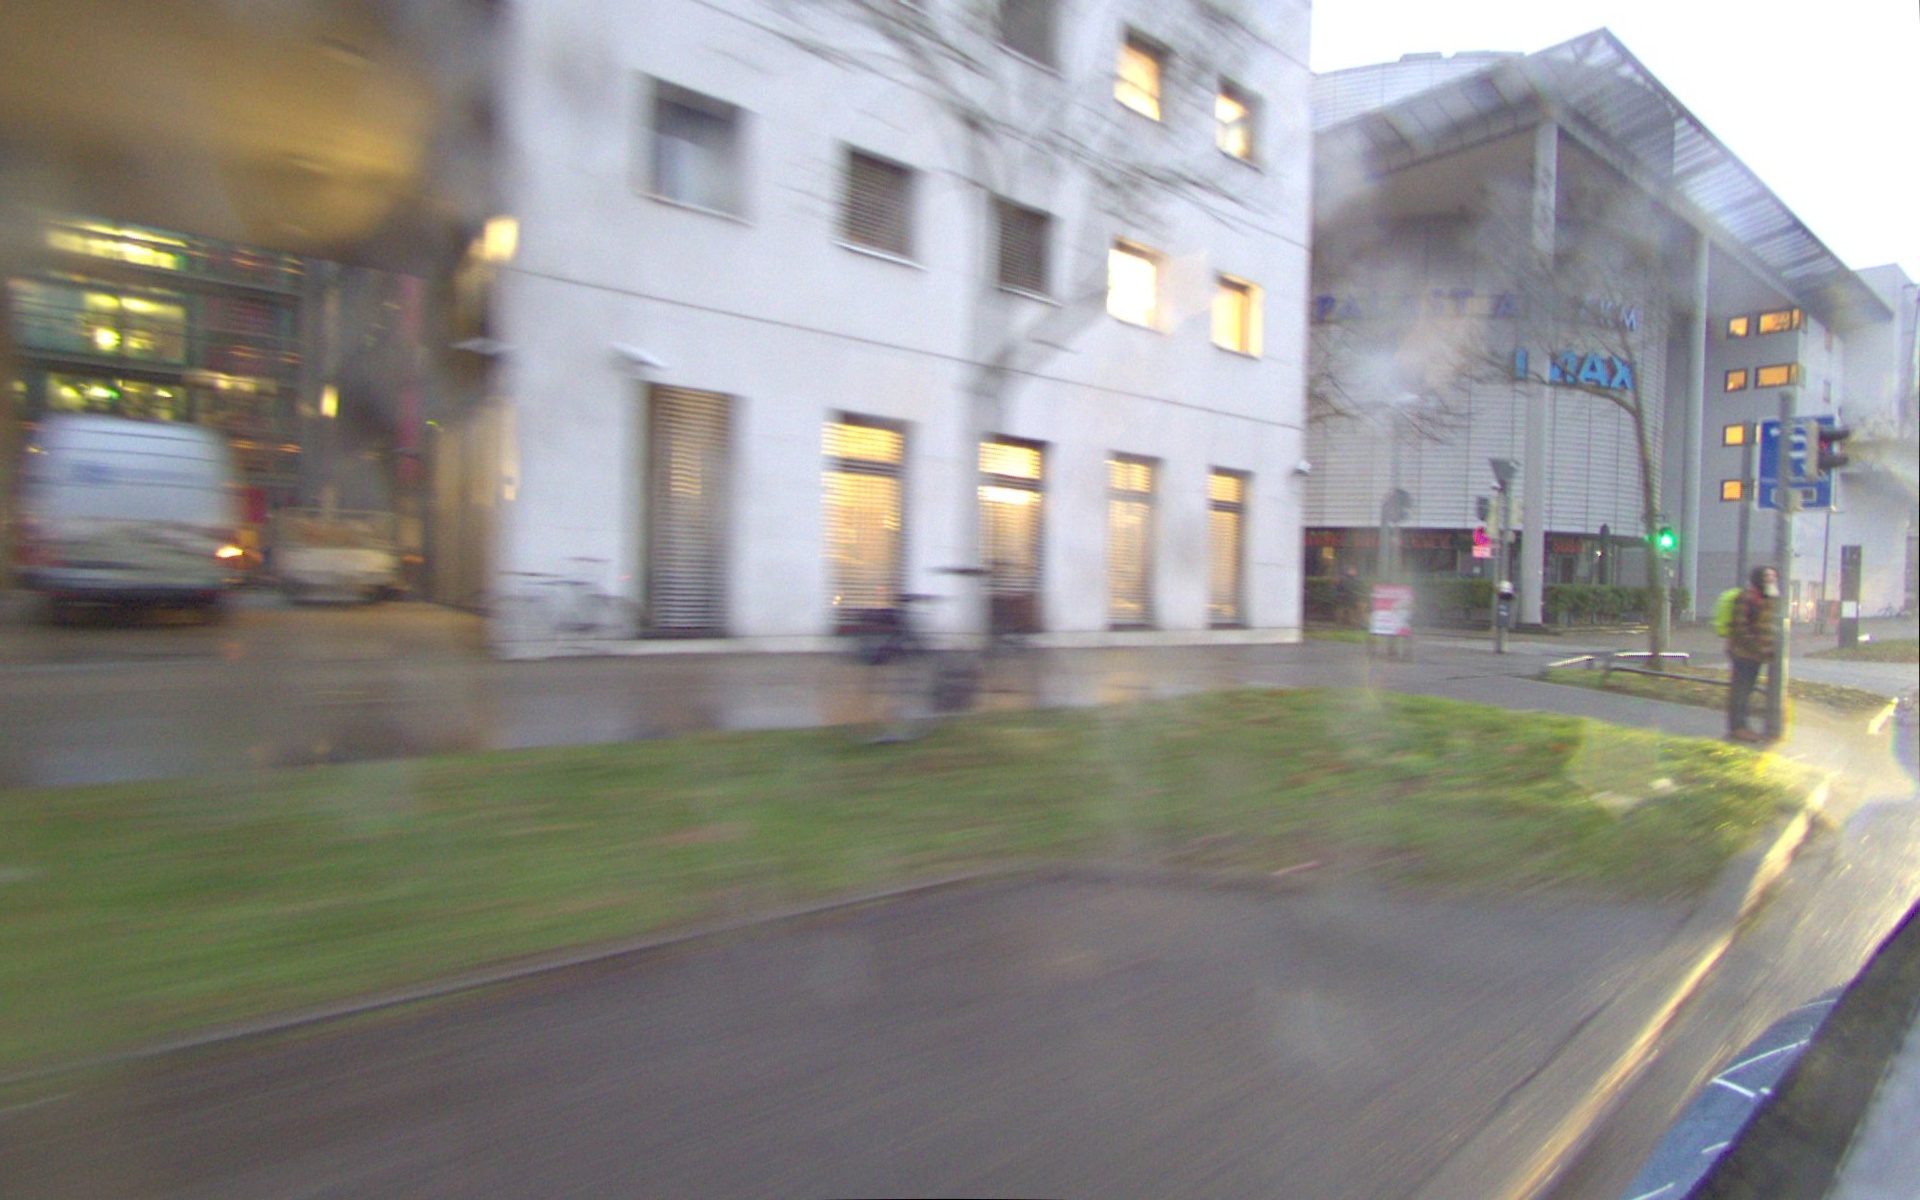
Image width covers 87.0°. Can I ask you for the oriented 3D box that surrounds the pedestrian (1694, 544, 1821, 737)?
[{"bbox_3d":[8.106,0.372,10.297,0.687,1.829,0.772,-1,6,-42],"label":"pedestrian"}]

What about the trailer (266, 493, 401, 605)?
[{"bbox_3d":[-12.481,-0.956,20.064,1.856,1.974,3.998,0,1,-38],"label":"trailer"}]

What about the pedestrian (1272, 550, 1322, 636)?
[{"bbox_3d":[7.079,-0.155,21.233,0.691,1.757,0.738,-1,0,-41],"label":"pedestrian"}]

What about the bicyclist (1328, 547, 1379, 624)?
[{"bbox_3d":[9.686,-0.354,24.937,0.822,1.845,0.733,3,-1,-16],"label":"bicyclist"}]

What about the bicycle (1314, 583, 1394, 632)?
[{"bbox_3d":[9.659,0.172,24.912,0.836,1.105,1.872,3,0,-15],"label":"bicycle"}]

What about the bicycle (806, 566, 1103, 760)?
[{"bbox_3d":[0.028,0.343,6.828,2.127,1.129,0.552,-1,3,-39],"label":"bicycle"}]

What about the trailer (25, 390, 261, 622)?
[{"bbox_3d":[-11.809,-1.166,14.464,2.172,2.613,6.267,1,2,-42],"label":"trailer"}]
